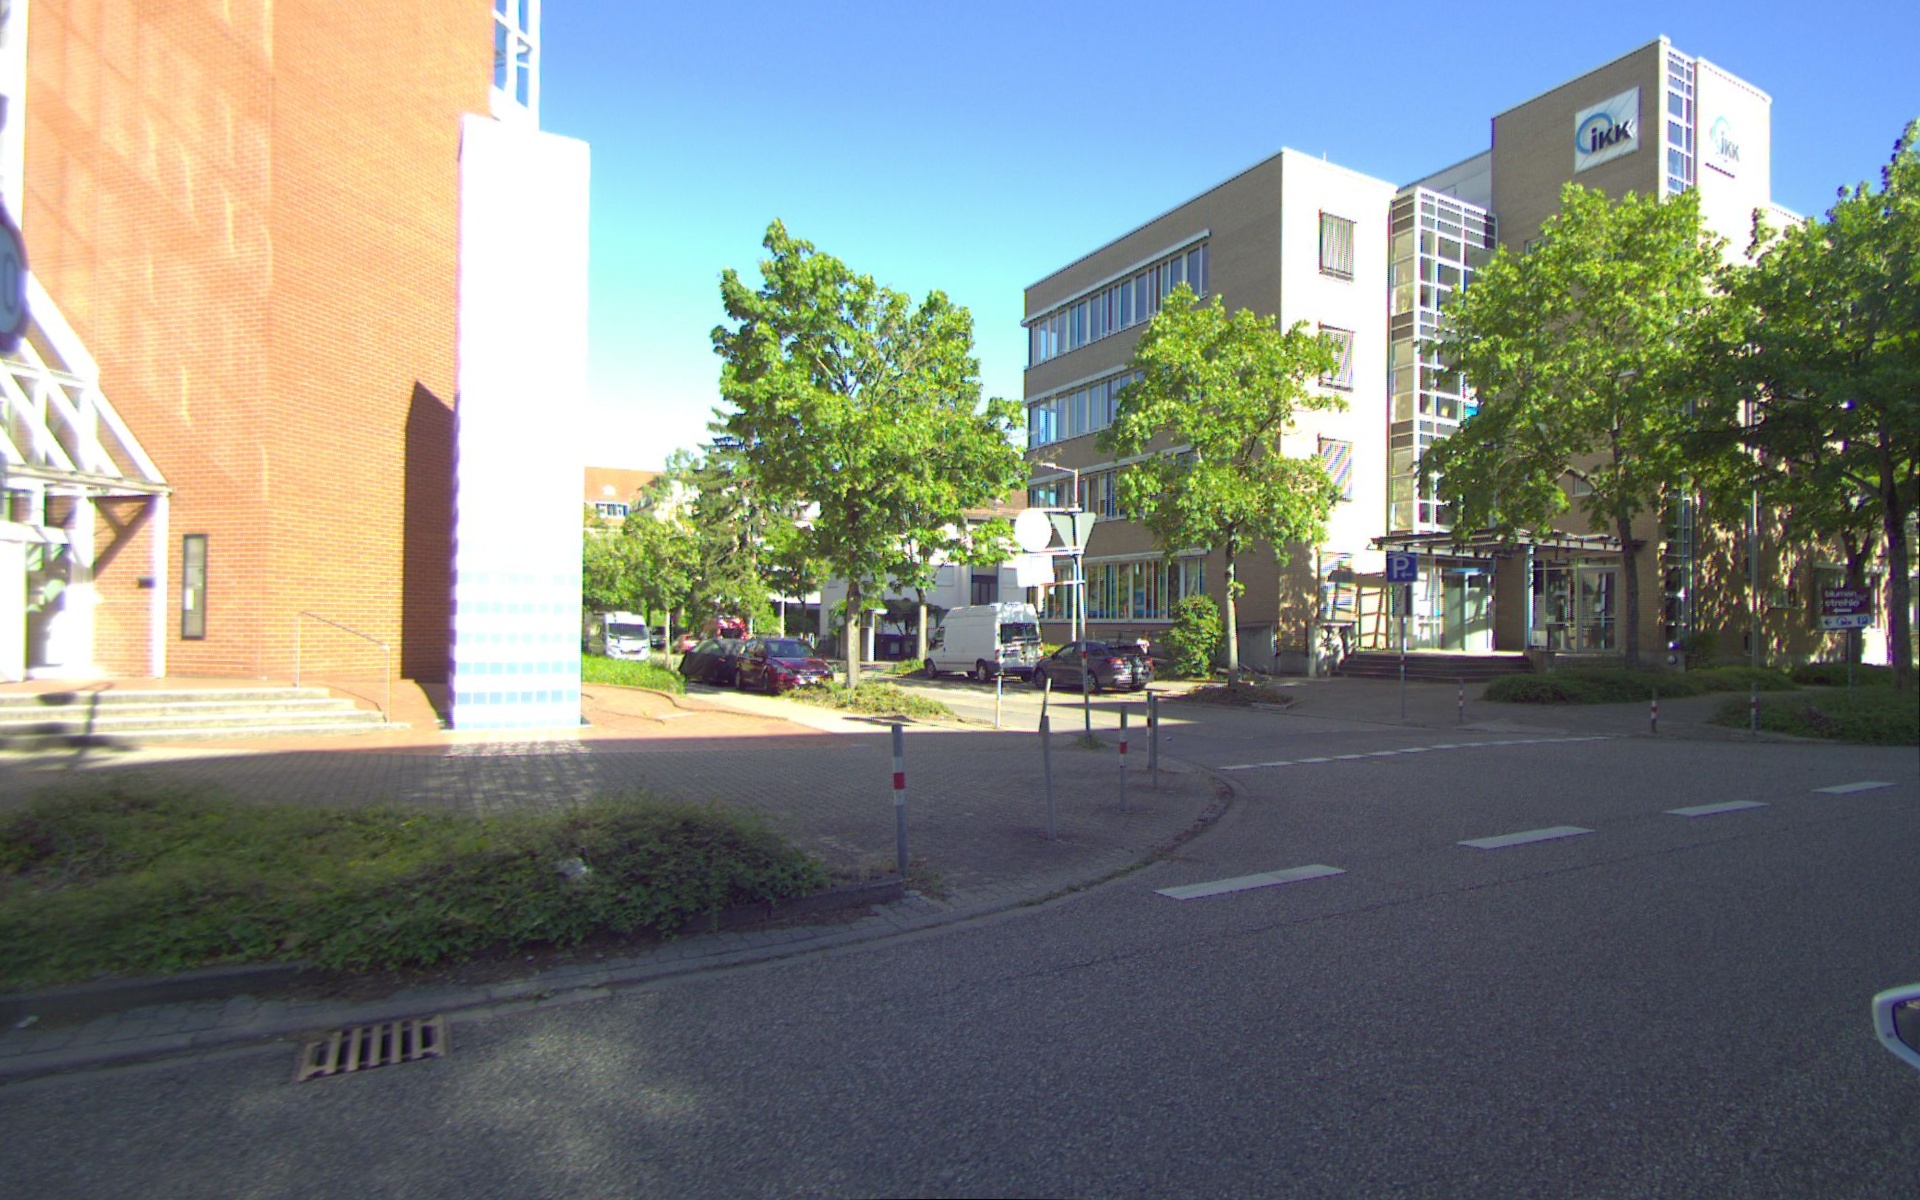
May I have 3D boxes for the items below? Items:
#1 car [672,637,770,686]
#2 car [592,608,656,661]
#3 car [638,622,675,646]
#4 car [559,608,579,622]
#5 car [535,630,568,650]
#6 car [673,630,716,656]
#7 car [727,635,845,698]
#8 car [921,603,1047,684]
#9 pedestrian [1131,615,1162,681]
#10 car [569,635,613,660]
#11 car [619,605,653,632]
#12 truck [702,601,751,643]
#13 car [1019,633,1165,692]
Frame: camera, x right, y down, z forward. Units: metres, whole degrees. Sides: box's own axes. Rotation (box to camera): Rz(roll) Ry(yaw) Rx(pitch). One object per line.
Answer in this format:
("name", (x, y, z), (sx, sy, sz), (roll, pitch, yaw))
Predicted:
("car", (-7.593, 1.893, 31.583), (1.825, 1.202, 4.690), (6, -3, -28))
("car", (-15.630, 1.566, 46.599), (2.059, 2.300, 4.690), (1, -1, -28))
("car", (-25.018, 2.793, 82.691), (2.059, 1.892, 4.690), (1, -2, -28))
("car", (-51.679, 1.956, 132.780), (1.961, 1.734, 4.146), (1, -2, -28))
("car", (-28.544, 2.810, 70.159), (1.747, 1.349, 4.052), (1, -2, -28))
("car", (-18.754, 3.026, 70.776), (1.964, 1.755, 4.690), (1, -2, -28))
("car", (-4.754, 1.710, 26.932), (1.825, 1.471, 4.409), (1, -1, -28))
("car", (0.720, 1.448, 35.097), (1.900, 2.603, 5.437), (1, -1, -29))
("pedestrian", (5.618, 1.442, 30.289), (0.663, 1.943, 0.619), (1, -2, -28))
("car", (-20.882, 2.645, 56.789), (1.825, 1.349, 4.052), (1, -2, -28))
("car", (-28.592, 1.638, 88.538), (2.059, 2.299, 4.690), (1, -2, -28))
("truck", (-14.962, 1.443, 64.272), (1.977, 2.574, 3.969), (1, -2, -30))
("car", (3.739, 1.756, 29.413), (1.825, 1.528, 4.688), (1, -1, -29))
